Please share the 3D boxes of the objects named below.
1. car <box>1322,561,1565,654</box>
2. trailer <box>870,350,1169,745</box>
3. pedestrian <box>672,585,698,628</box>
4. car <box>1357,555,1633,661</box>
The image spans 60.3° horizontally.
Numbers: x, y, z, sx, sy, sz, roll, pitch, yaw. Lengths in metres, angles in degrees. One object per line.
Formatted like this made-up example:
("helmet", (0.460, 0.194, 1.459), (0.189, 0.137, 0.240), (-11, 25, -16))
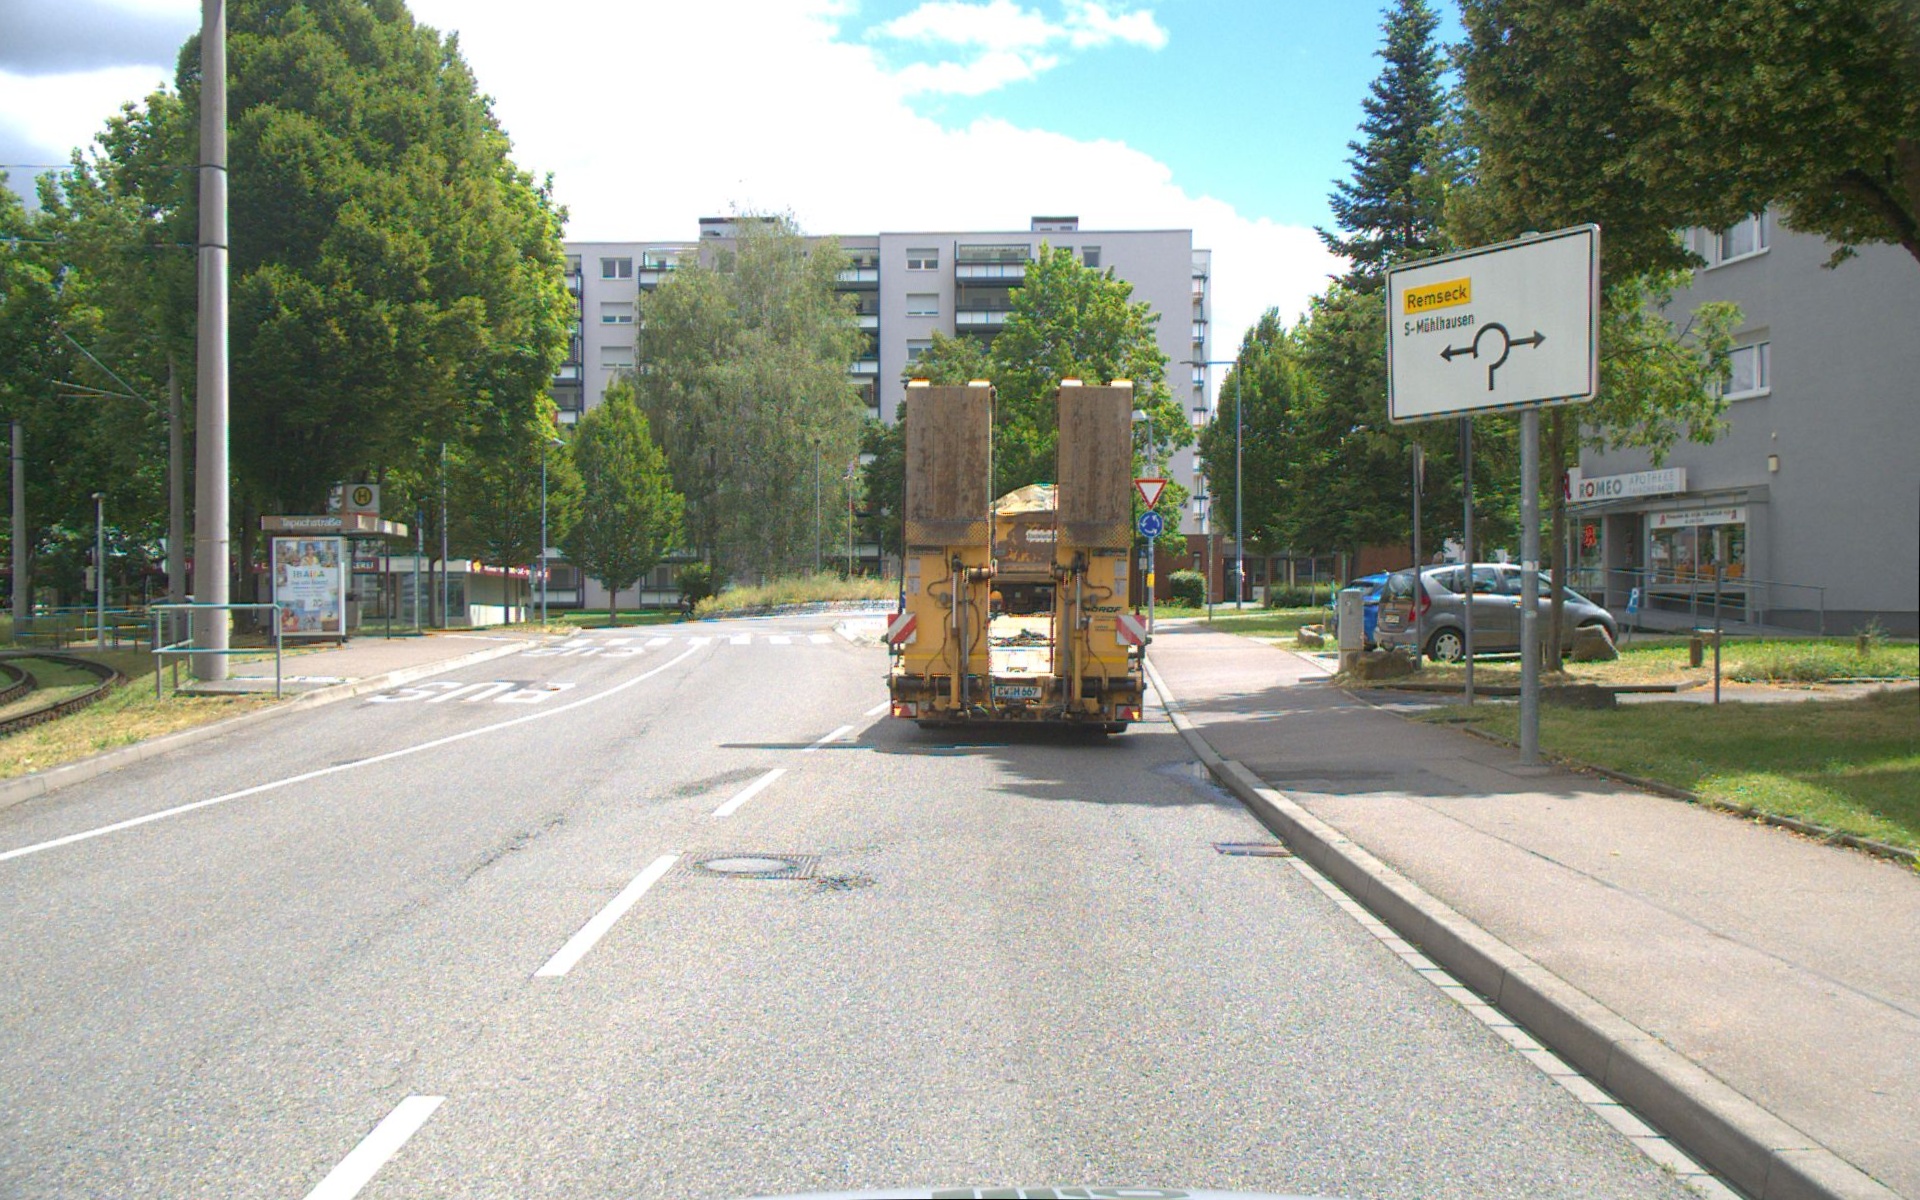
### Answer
("car", (8.834, 0.134, 30.305), (3.919, 1.588, 1.754), (1, 1, -14))
("trailer", (1.085, -0.580, 21.924), (2.767, 3.709, 12.362), (1, 1, 5))
("pedestrian", (-13.192, 0.305, 79.245), (0.898, 2.049, 0.952), (1, 0, -32))
("car", (8.662, 0.124, 26.881), (3.919, 1.588, 1.754), (1, 1, -14))
